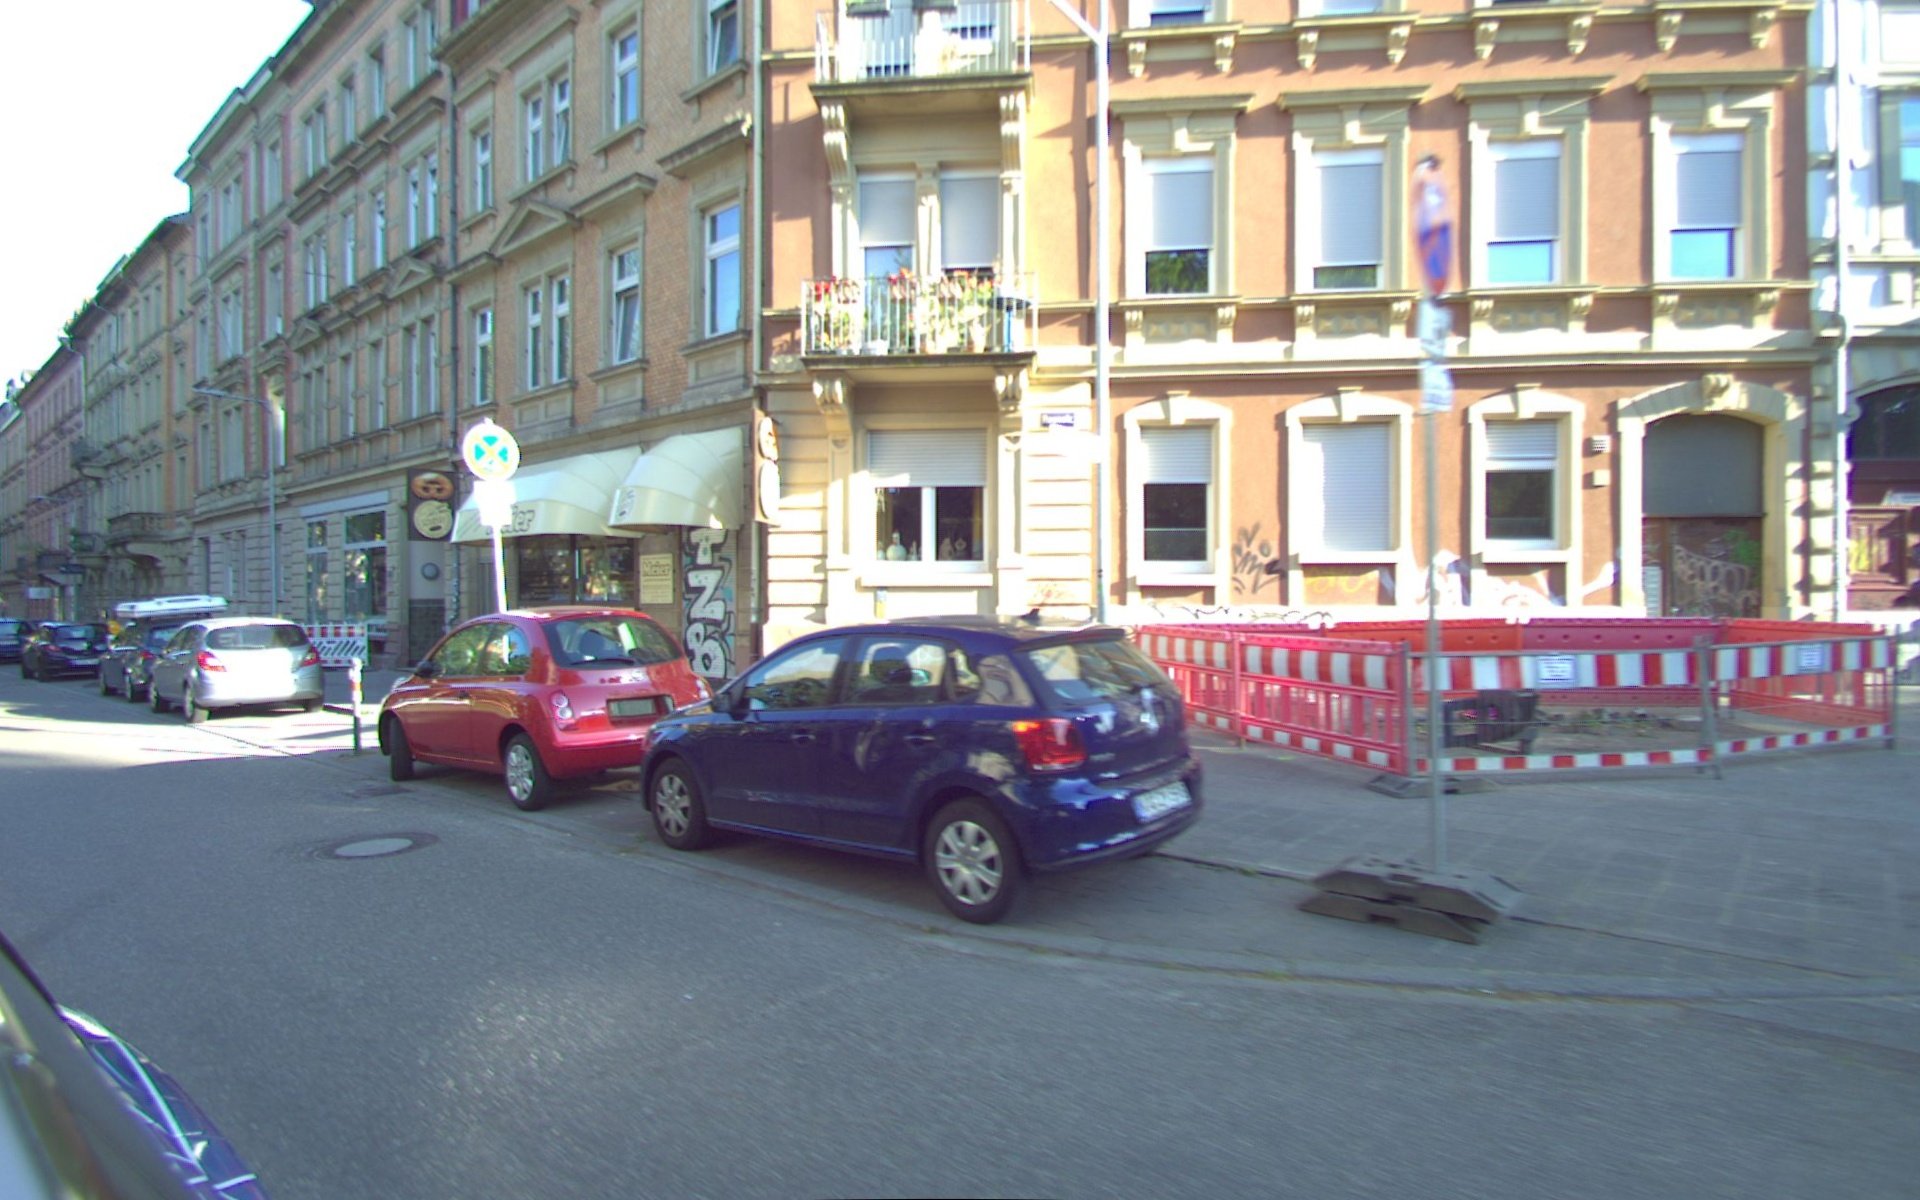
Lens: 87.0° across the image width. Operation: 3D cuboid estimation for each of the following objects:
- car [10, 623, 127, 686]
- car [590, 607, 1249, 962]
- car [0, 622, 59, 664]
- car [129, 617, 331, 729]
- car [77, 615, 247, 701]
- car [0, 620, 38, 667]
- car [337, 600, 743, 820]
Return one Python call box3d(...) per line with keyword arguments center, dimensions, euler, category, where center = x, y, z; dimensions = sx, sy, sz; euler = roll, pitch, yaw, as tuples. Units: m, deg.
box3d(center=(-22.855, 1.343, 25.916), dimensions=(4.017, 1.465, 1.686), euler=(-2, -1, 40), category="car")
box3d(center=(-0.474, 0.809, 6.210), dimensions=(3.998, 1.469, 1.652), euler=(-1, 0, 41), category="car")
box3d(center=(-36.720, 1.622, 38.054), dimensions=(1.822, 1.541, 3.952), euler=(-1, -1, 35), category="car")
box3d(center=(-11.487, 1.049, 15.827), dimensions=(3.994, 1.448, 1.707), euler=(-2, 1, 42), category="car")
box3d(center=(-15.425, 1.055, 19.486), dimensions=(4.297, 1.448, 1.747), euler=(-2, -1, 40), category="car")
box3d(center=(-33.615, 1.503, 35.357), dimensions=(3.893, 1.579, 1.723), euler=(-2, -1, 42), category="car")
box3d(center=(-3.888, 0.809, 9.067), dimensions=(3.995, 1.542, 1.653), euler=(-1, 0, 39), category="car")
